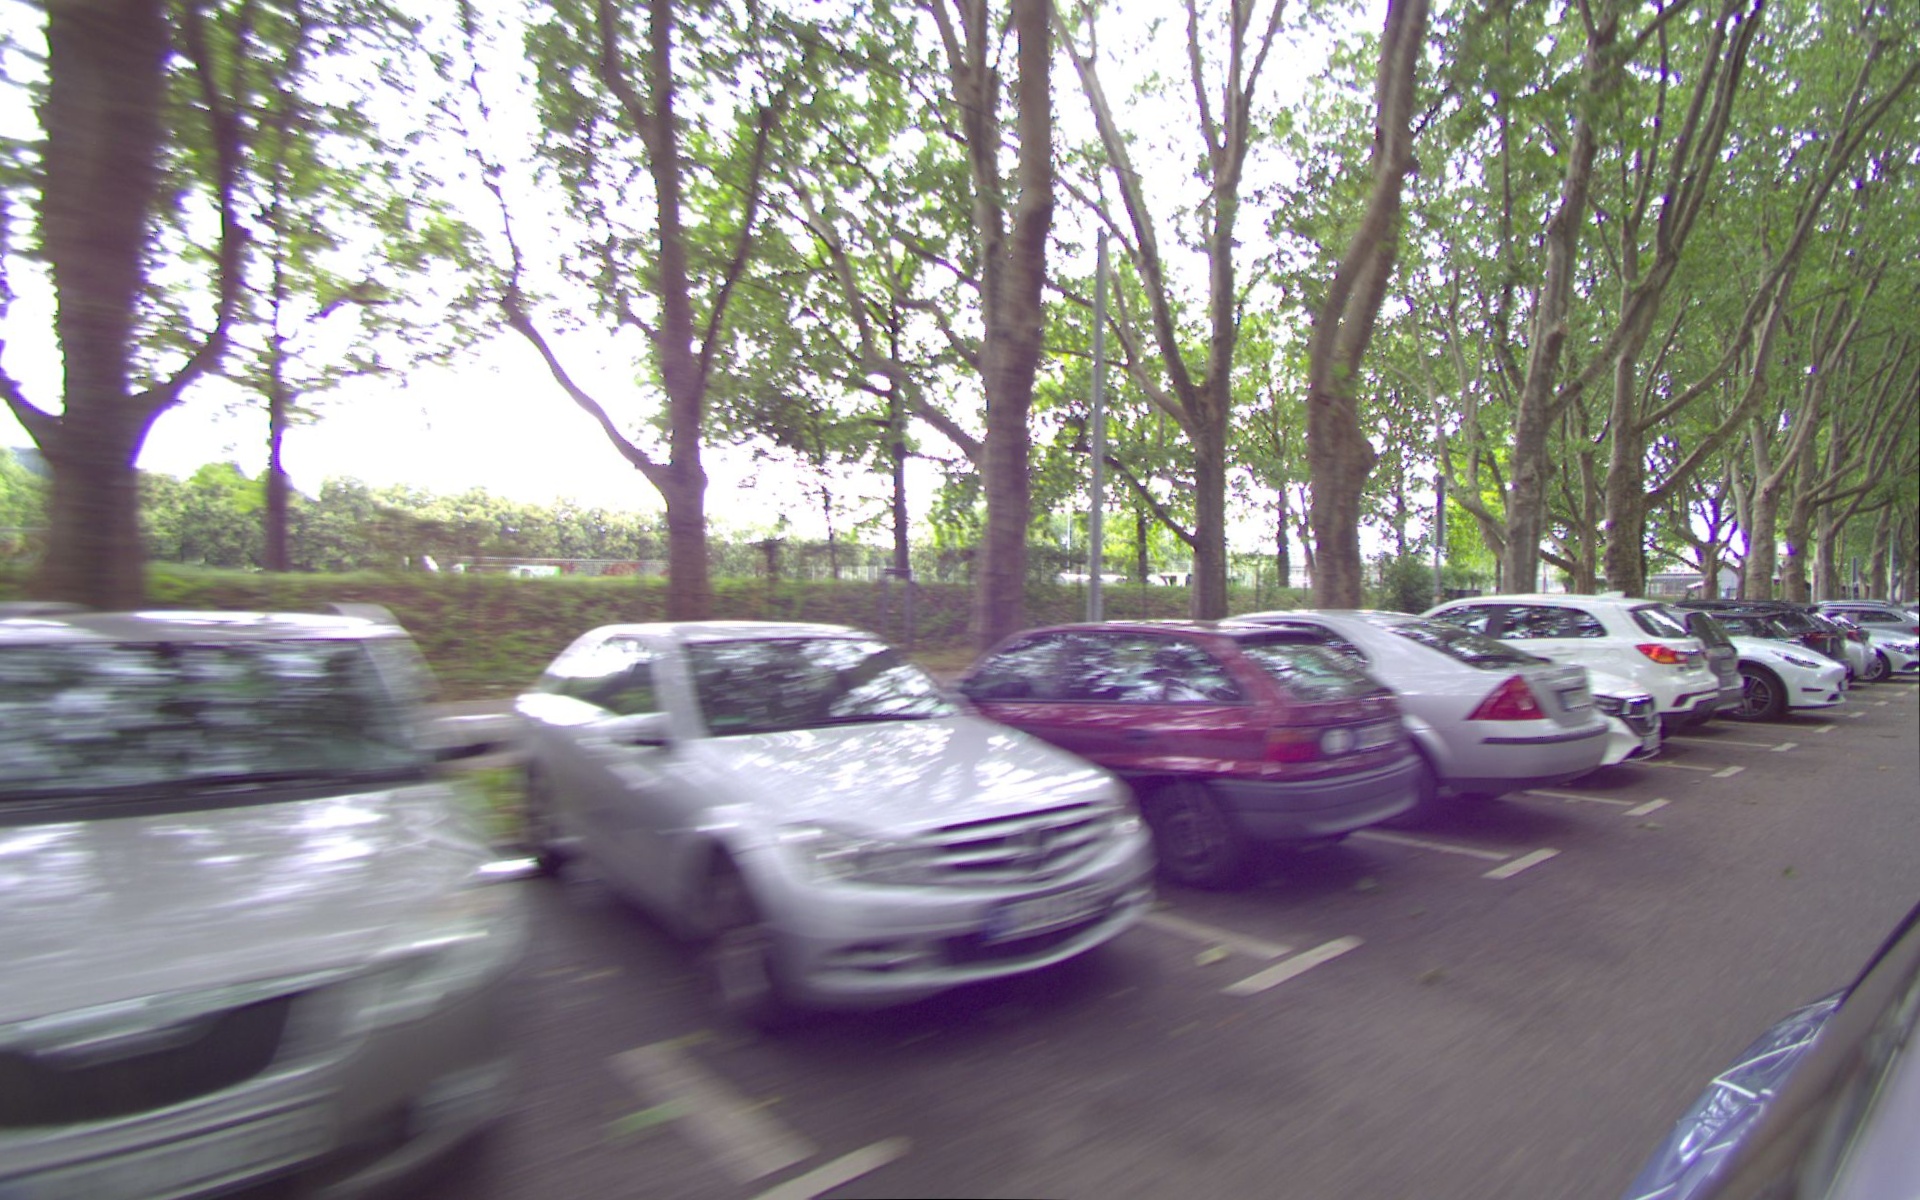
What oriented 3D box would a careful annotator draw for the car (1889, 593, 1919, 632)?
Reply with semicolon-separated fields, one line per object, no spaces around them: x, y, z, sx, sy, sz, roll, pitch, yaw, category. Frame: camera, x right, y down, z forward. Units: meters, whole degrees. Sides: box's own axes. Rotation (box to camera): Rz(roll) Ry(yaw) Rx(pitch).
45.452;0.553;46.079;1.768;1.777;4.394;0;-1;-38;car

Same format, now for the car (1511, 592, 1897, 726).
10.360;0.714;14.322;1.824;1.616;4.169;0;0;-44;car

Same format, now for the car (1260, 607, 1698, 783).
5.054;0.796;10.195;1.494;1.428;3.648;0;0;-44;car

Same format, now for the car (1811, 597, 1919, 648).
28.615;0.658;30.654;1.665;1.488;4.120;0;0;-41;car

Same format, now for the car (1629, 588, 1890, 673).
15.341;0.538;19.550;1.597;1.488;3.778;0;0;-44;car

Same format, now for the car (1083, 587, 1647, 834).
2.992;0.647;7.922;1.952;1.442;3.648;0;0;-44;car

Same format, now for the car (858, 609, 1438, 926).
0.992;0.787;6.449;1.494;1.442;3.427;0;0;-44;car

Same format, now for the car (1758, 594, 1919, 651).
24.889;0.597;28.340;1.638;1.488;3.781;0;0;-41;car

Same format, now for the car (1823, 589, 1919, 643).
30.470;0.506;32.379;1.664;1.691;4.121;0;0;-40;car

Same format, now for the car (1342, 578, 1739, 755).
6.436;0.639;11.490;1.494;1.688;3.648;0;0;-44;car

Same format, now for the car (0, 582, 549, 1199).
-2.488;0.693;3.442;1.489;1.442;3.693;0;0;-31;car

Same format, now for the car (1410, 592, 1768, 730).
8.060;0.683;13.235;1.614;1.538;3.654;0;0;-38;car

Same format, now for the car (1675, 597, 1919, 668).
19.429;0.752;23.282;1.622;1.489;4.618;1;-2;-43;car

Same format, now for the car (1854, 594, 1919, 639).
35.693;0.611;37.394;1.665;1.628;3.831;0;0;-42;car

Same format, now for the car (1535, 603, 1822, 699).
11.668;0.752;16.595;1.494;1.389;3.648;0;0;-44;car

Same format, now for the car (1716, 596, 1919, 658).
22.499;0.664;26.285;1.595;1.488;4.373;0;0;-41;car

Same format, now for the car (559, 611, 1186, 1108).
-0.724;0.792;4.860;1.490;1.442;3.436;0;0;-35;car

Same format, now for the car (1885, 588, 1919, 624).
41.460;0.266;42.289;1.665;1.505;3.992;0;0;-42;car

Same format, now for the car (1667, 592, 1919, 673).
17.346;0.608;20.895;1.597;1.488;4.301;0;1;-44;car

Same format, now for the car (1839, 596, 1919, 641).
32.210;0.607;33.771;1.583;1.470;4.217;0;0;-42;car
